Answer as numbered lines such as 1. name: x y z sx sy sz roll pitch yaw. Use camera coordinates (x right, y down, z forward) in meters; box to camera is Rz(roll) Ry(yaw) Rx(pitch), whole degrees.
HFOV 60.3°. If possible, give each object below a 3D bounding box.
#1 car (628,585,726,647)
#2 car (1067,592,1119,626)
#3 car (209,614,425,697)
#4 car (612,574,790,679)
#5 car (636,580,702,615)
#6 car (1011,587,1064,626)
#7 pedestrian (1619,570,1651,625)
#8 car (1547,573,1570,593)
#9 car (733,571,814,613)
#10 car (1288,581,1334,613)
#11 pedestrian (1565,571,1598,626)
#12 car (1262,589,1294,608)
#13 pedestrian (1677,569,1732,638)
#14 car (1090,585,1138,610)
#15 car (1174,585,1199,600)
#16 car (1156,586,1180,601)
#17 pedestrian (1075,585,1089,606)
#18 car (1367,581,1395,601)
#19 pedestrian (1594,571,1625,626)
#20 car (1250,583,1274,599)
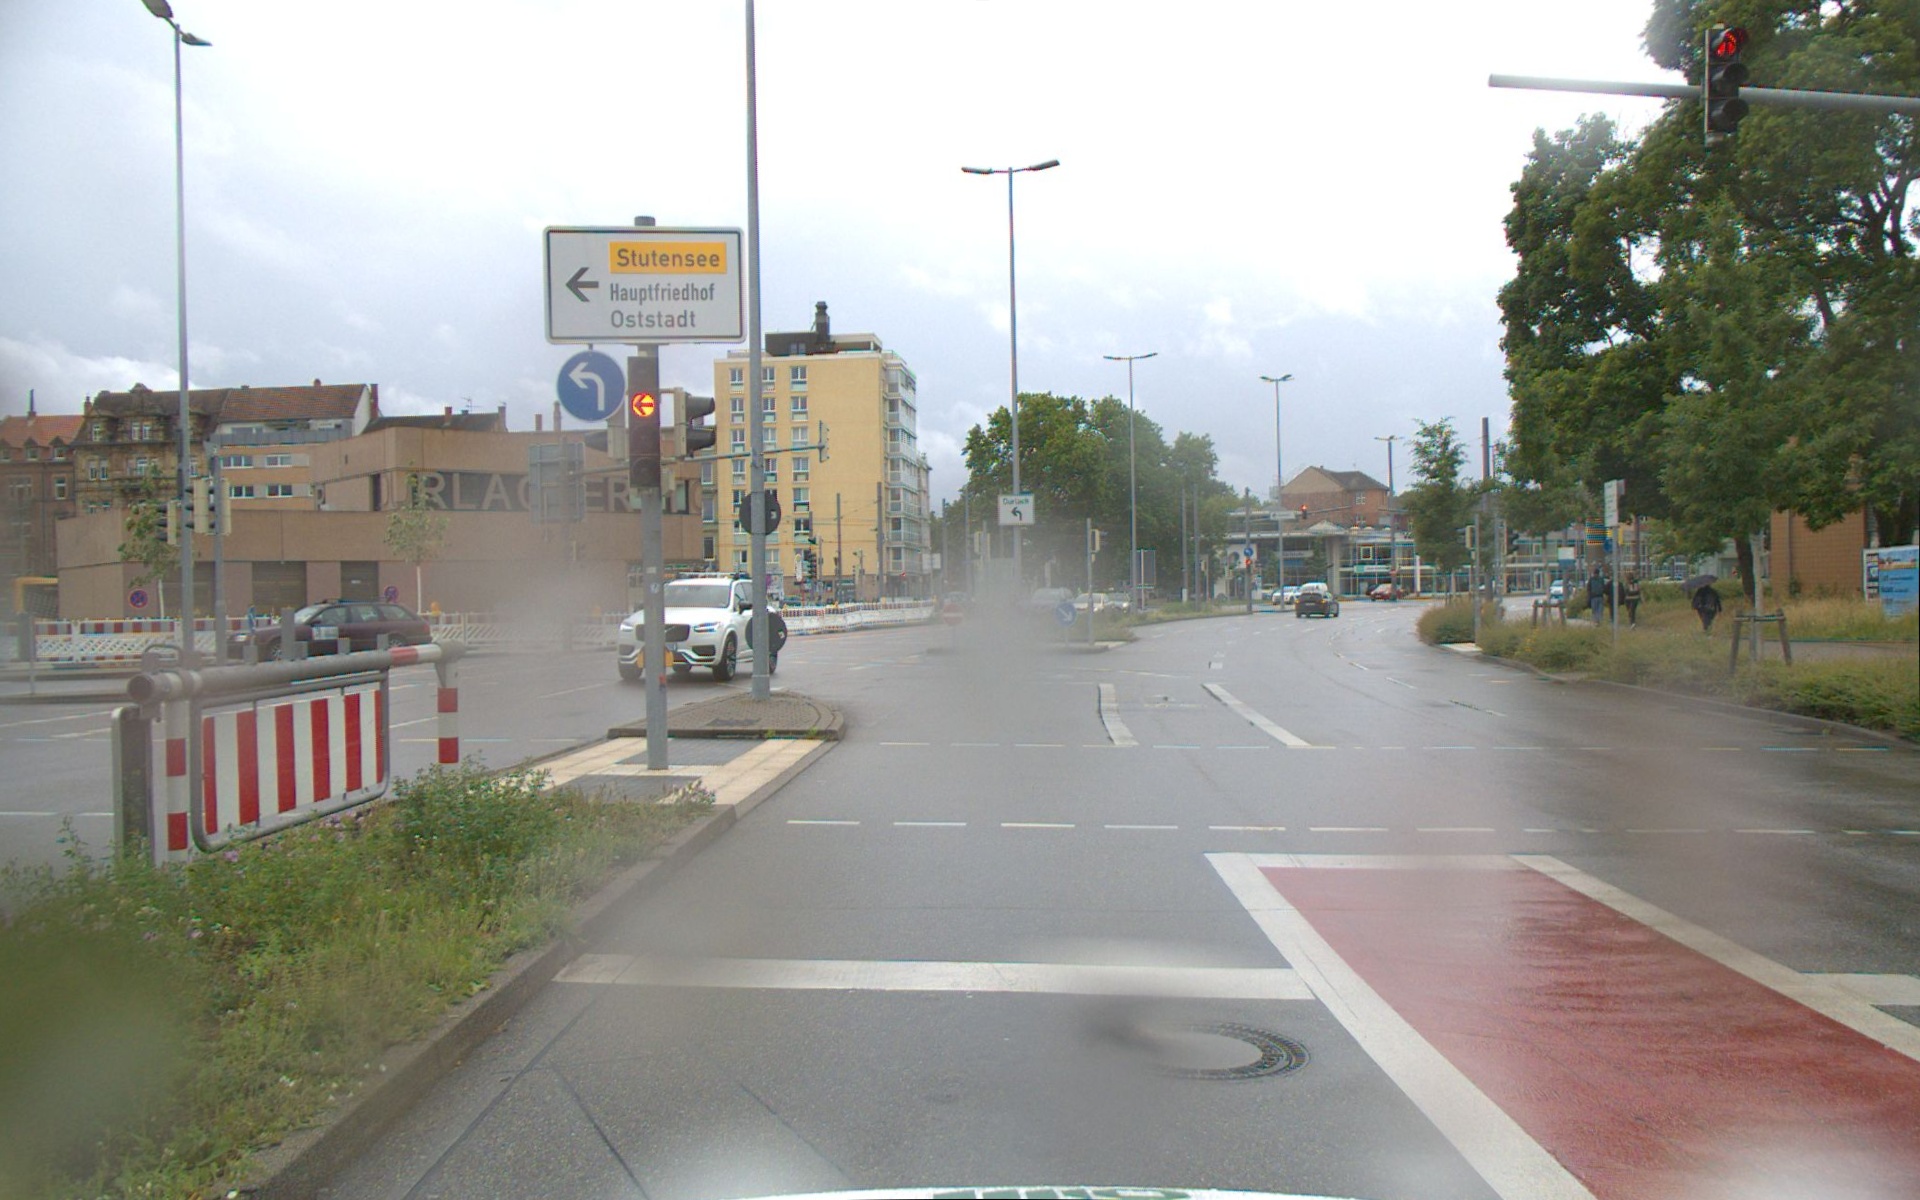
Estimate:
1. car: -8.447 0.442 49.739 1.669 1.735 4.156 -1 0 9
2. car: 6.629 0.406 82.278 1.658 1.440 4.187 -2 2 17
3. car: -14.992 1.243 38.722 4.422 1.735 1.685 -1 0 -42
4. car: -4.513 0.420 29.697 1.787 1.711 5.170 0 0 7
5. car: -25.312 -0.220 144.016 5.239 2.937 2.340 -1 0 2
6. car: 3.989 0.318 84.539 1.658 1.720 4.187 -2 2 17
7. pedestrian: 20.174 -0.079 49.466 0.688 1.615 0.937 -1 0 10
8. car: 51.619 -1.435 142.627 1.753 1.672 4.159 -1 0 21
9. car: -16.136 -0.728 143.397 6.601 3.439 2.810 -1 0 2
10. car: 18.876 -0.176 88.803 1.753 1.672 4.159 -1 0 21
11. pedestrian: 18.630 -0.039 49.565 0.737 1.615 0.937 -1 0 10
12. car: 28.403 -0.145 147.759 1.754 1.672 4.394 -1 0 25
13. pedestrian: 17.919 0.076 39.832 1.000 1.615 0.937 -1 0 10
14. car: 8.966 -0.149 96.025 1.735 1.400 4.120 0 0 21
15. car: 26.289 -0.844 191.983 1.754 1.672 4.158 -1 0 23
16. car: 24.263 -0.805 192.806 1.754 1.672 4.158 -1 0 23
17. pedestrian: 10.705 -0.411 145.349 1.070 1.845 1.118 -1 0 -4
18. car: 37.457 -0.790 147.038 1.754 1.672 4.044 -1 0 24
19. pedestrian: 19.374 -0.057 49.348 0.688 1.615 0.937 -1 0 10
20. car: 34.406 -1.020 188.519 1.754 1.672 4.158 -1 0 23
